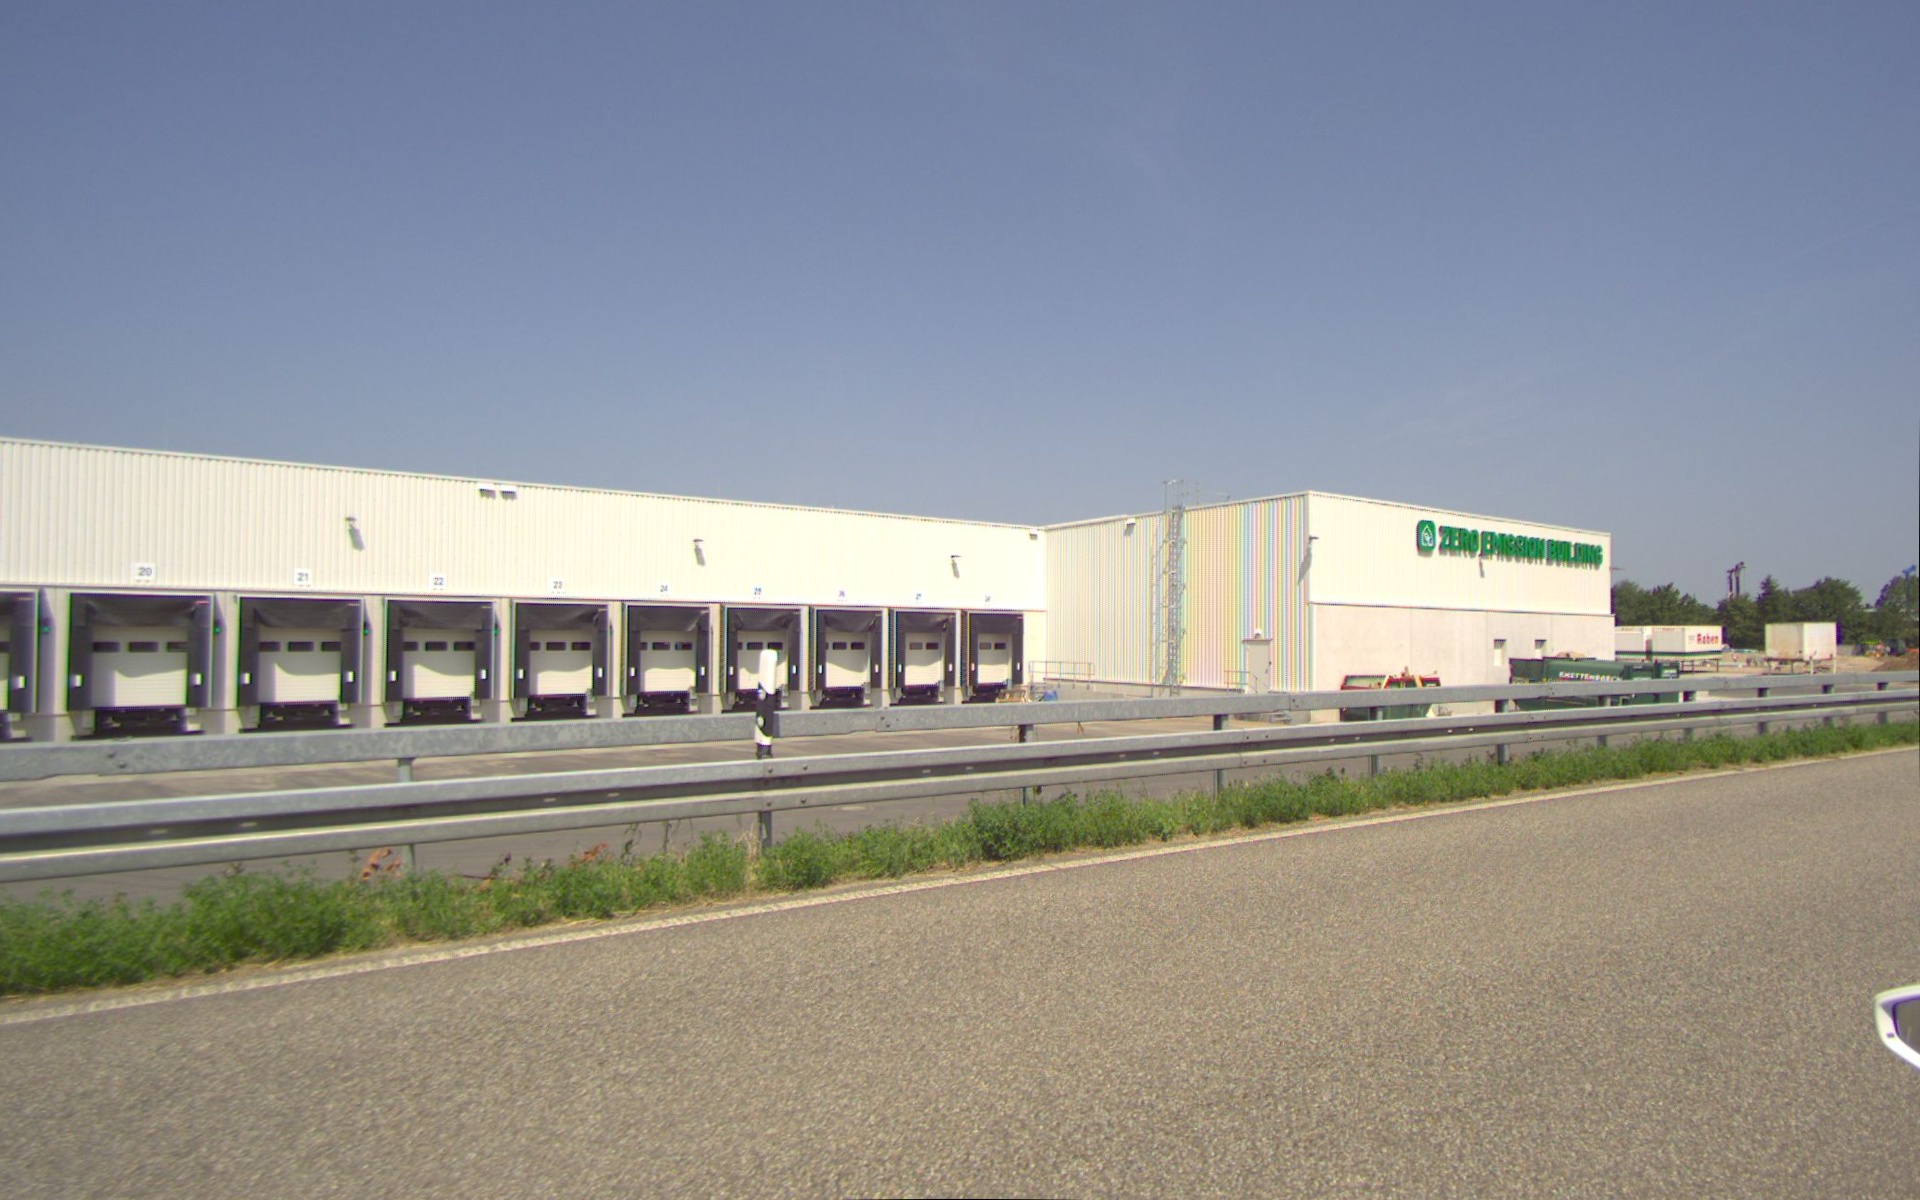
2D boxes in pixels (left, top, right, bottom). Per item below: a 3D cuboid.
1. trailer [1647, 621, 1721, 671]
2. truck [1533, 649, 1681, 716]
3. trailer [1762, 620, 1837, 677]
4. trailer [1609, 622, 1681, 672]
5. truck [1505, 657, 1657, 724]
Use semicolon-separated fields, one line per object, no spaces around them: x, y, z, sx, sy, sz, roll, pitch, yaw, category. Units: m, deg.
63.940;3.962;88.602;7.814;4.203;2.727;1;-1;-34;trailer
28.578;3.580;44.518;2.250;2.571;5.013;2;-1;-34;truck
68.113;3.836;81.437;7.871;4.390;2.662;1;-1;-35;trailer
62.119;4.189;91.060;7.459;4.275;2.837;1;-1;-33;trailer
25.831;3.698;41.965;2.206;2.364;4.986;1;-1;-30;truck
